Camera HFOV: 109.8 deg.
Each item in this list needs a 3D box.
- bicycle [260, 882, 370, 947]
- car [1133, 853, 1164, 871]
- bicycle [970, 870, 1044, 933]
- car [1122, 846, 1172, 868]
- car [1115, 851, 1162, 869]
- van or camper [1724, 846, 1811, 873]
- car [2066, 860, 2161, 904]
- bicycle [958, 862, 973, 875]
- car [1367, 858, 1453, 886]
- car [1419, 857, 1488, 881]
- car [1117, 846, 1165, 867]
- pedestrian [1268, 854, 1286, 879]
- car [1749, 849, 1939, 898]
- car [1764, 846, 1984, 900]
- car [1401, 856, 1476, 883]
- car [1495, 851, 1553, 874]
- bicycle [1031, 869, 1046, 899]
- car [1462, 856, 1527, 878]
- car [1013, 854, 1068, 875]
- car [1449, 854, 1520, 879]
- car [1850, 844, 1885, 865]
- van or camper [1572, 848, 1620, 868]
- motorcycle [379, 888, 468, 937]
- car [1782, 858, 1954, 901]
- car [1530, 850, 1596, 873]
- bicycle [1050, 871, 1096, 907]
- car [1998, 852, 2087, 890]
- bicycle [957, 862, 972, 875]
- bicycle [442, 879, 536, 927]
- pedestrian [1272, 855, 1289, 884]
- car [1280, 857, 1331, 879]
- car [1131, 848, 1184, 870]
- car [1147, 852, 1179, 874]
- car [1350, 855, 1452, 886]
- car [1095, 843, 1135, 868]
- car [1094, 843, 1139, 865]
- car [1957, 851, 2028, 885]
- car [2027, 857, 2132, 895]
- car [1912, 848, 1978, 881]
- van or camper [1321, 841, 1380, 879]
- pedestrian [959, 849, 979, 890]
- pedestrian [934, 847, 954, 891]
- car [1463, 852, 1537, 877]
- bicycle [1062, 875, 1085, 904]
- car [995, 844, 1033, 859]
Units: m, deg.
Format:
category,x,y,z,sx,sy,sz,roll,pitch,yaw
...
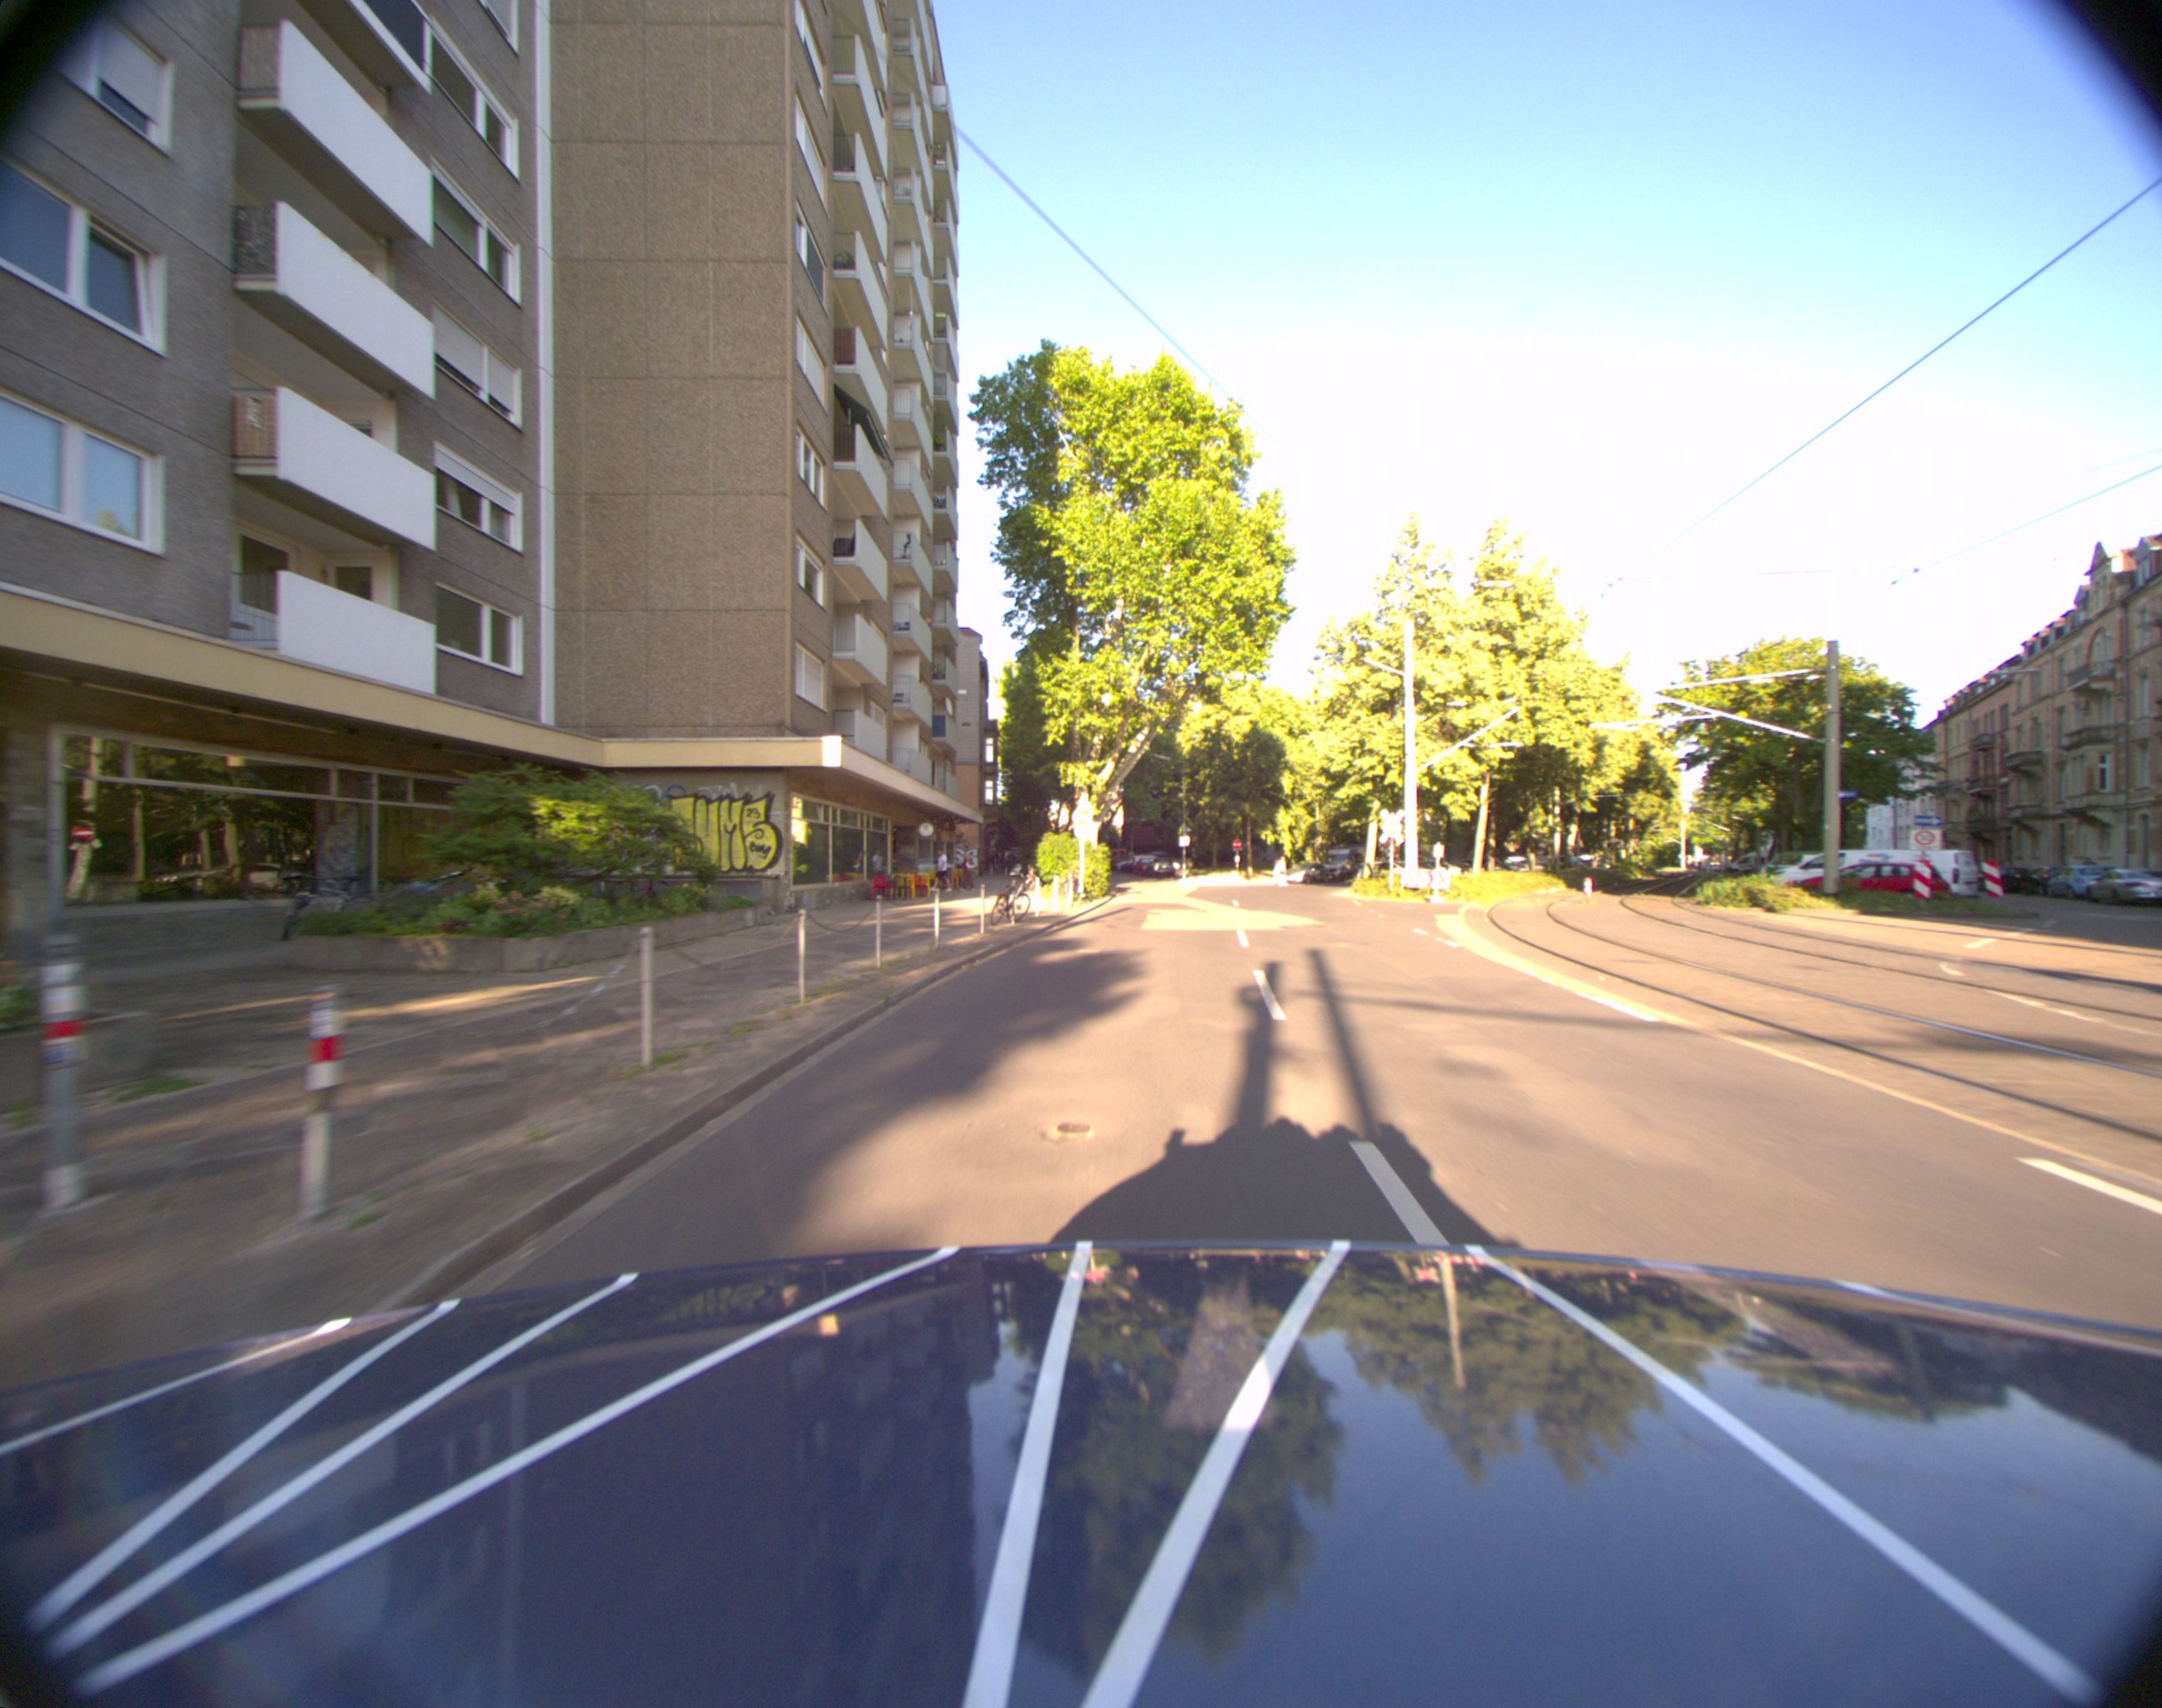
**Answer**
category,x,y,z,sx,sy,sz,roll,pitch,yaw
bicycle,-12.226,0.942,12.180,0.432,0.937,1.324,0,0,-1
car,5.619,0.636,63.754,1.743,1.441,4.642,-1,1,-5
bicycle,-1.555,0.983,16.365,0.639,1.219,2.092,1,0,24
car,6.128,0.255,70.984,4.399,1.766,1.786,-3,0,-3
car,5.758,0.583,76.154,4.399,1.483,1.786,-3,0,-3
van or camper,63.703,0.512,70.665,2.310,2.357,5.541,1,1,-22
car,39.623,1.016,28.704,1.851,1.532,4.782,0,0,39
bicycle,-6.827,0.861,44.897,0.895,0.737,0.272,0,1,-9
car,18.139,1.025,42.038,1.777,1.356,3.977,-1,-2,-33
car,25.076,1.017,51.239,1.834,1.430,3.866,-1,-2,-23
car,5.799,0.212,73.813,4.399,1.766,1.786,-3,0,-3
pedestrian,12.667,0.815,49.191,0.718,1.598,0.812,3,-2,-44
car,29.866,0.705,29.970,2.087,1.754,4.827,0,0,-21
car,28.047,0.610,27.120,2.088,1.754,5.048,0,0,-27
car,21.687,0.941,46.213,1.834,1.484,3.879,-1,-2,-22
car,37.396,0.721,64.315,1.884,1.770,4.158,-2,-2,-11
bicycle,-1.550,1.088,27.751,0.349,1.032,1.053,1,0,7
car,31.448,1.006,57.871,1.773,1.450,4.155,-1,-2,-20
car,-3.146,0.820,58.330,4.001,1.464,1.733,2,0,-11
car,29.449,0.933,55.629,1.943,1.616,4.352,-1,-2,-20
car,79.944,0.033,77.309,1.994,2.002,4.008,0,1,39
van or camper,68.973,0.515,101.849,2.047,2.455,4.879,-1,-2,-22
motorcycle,-11.848,1.032,13.734,0.432,0.790,1.367,0,0,-1
car,26.283,0.798,25.512,1.719,1.321,3.625,0,0,-26
car,49.509,0.845,78.192,2.083,2.124,5.507,-1,-2,-19
bicycle,-0.223,1.065,23.809,0.639,1.016,2.092,1,0,24
car,46.430,0.779,36.797,1.794,1.765,4.009,0,0,39
bicycle,-6.820,0.864,44.488,0.895,0.737,0.272,0,1,-9
bicycle,-12.109,0.979,15.605,0.644,0.893,1.651,0,0,-1
pedestrian,12.600,0.973,48.018,0.718,1.771,0.812,0,1,-44
car,15.466,0.938,52.268,3.880,1.437,1.681,0,-2,-45
car,6.855,0.417,68.375,4.399,1.697,1.733,-3,0,-3
car,6.241,0.633,58.267,1.741,1.543,4.275,-3,0,-2
car,15.420,0.802,36.788,1.777,1.421,4.284,-1,-1,-32
car,4.066,0.212,91.292,4.641,2.950,1.606,0,1,-9
car,3.903,-0.010,83.467,4.641,2.398,1.606,0,0,-9
car,51.079,0.752,42.660,1.794,1.765,4.009,0,0,39
car,43.586,0.909,33.281,1.851,1.510,4.068,0,0,39
car,55.279,0.628,48.699,1.994,2.002,4.009,0,0,37
van or camper,20.469,0.456,57.544,2.085,2.746,5.858,0,0,42
pedestrian,-4.743,0.654,32.196,0.685,1.682,0.645,0,1,3
pedestrian,-5.661,0.616,31.357,0.685,1.763,0.636,0,1,3
car,33.088,0.900,60.188,1.989,1.770,4.995,-1,-2,-21
bicycle,-0.229,1.187,25.782,0.543,0.899,1.737,0,0,7
car,-8.203,-0.317,93.061,4.485,1.621,1.733,2,0,-11
